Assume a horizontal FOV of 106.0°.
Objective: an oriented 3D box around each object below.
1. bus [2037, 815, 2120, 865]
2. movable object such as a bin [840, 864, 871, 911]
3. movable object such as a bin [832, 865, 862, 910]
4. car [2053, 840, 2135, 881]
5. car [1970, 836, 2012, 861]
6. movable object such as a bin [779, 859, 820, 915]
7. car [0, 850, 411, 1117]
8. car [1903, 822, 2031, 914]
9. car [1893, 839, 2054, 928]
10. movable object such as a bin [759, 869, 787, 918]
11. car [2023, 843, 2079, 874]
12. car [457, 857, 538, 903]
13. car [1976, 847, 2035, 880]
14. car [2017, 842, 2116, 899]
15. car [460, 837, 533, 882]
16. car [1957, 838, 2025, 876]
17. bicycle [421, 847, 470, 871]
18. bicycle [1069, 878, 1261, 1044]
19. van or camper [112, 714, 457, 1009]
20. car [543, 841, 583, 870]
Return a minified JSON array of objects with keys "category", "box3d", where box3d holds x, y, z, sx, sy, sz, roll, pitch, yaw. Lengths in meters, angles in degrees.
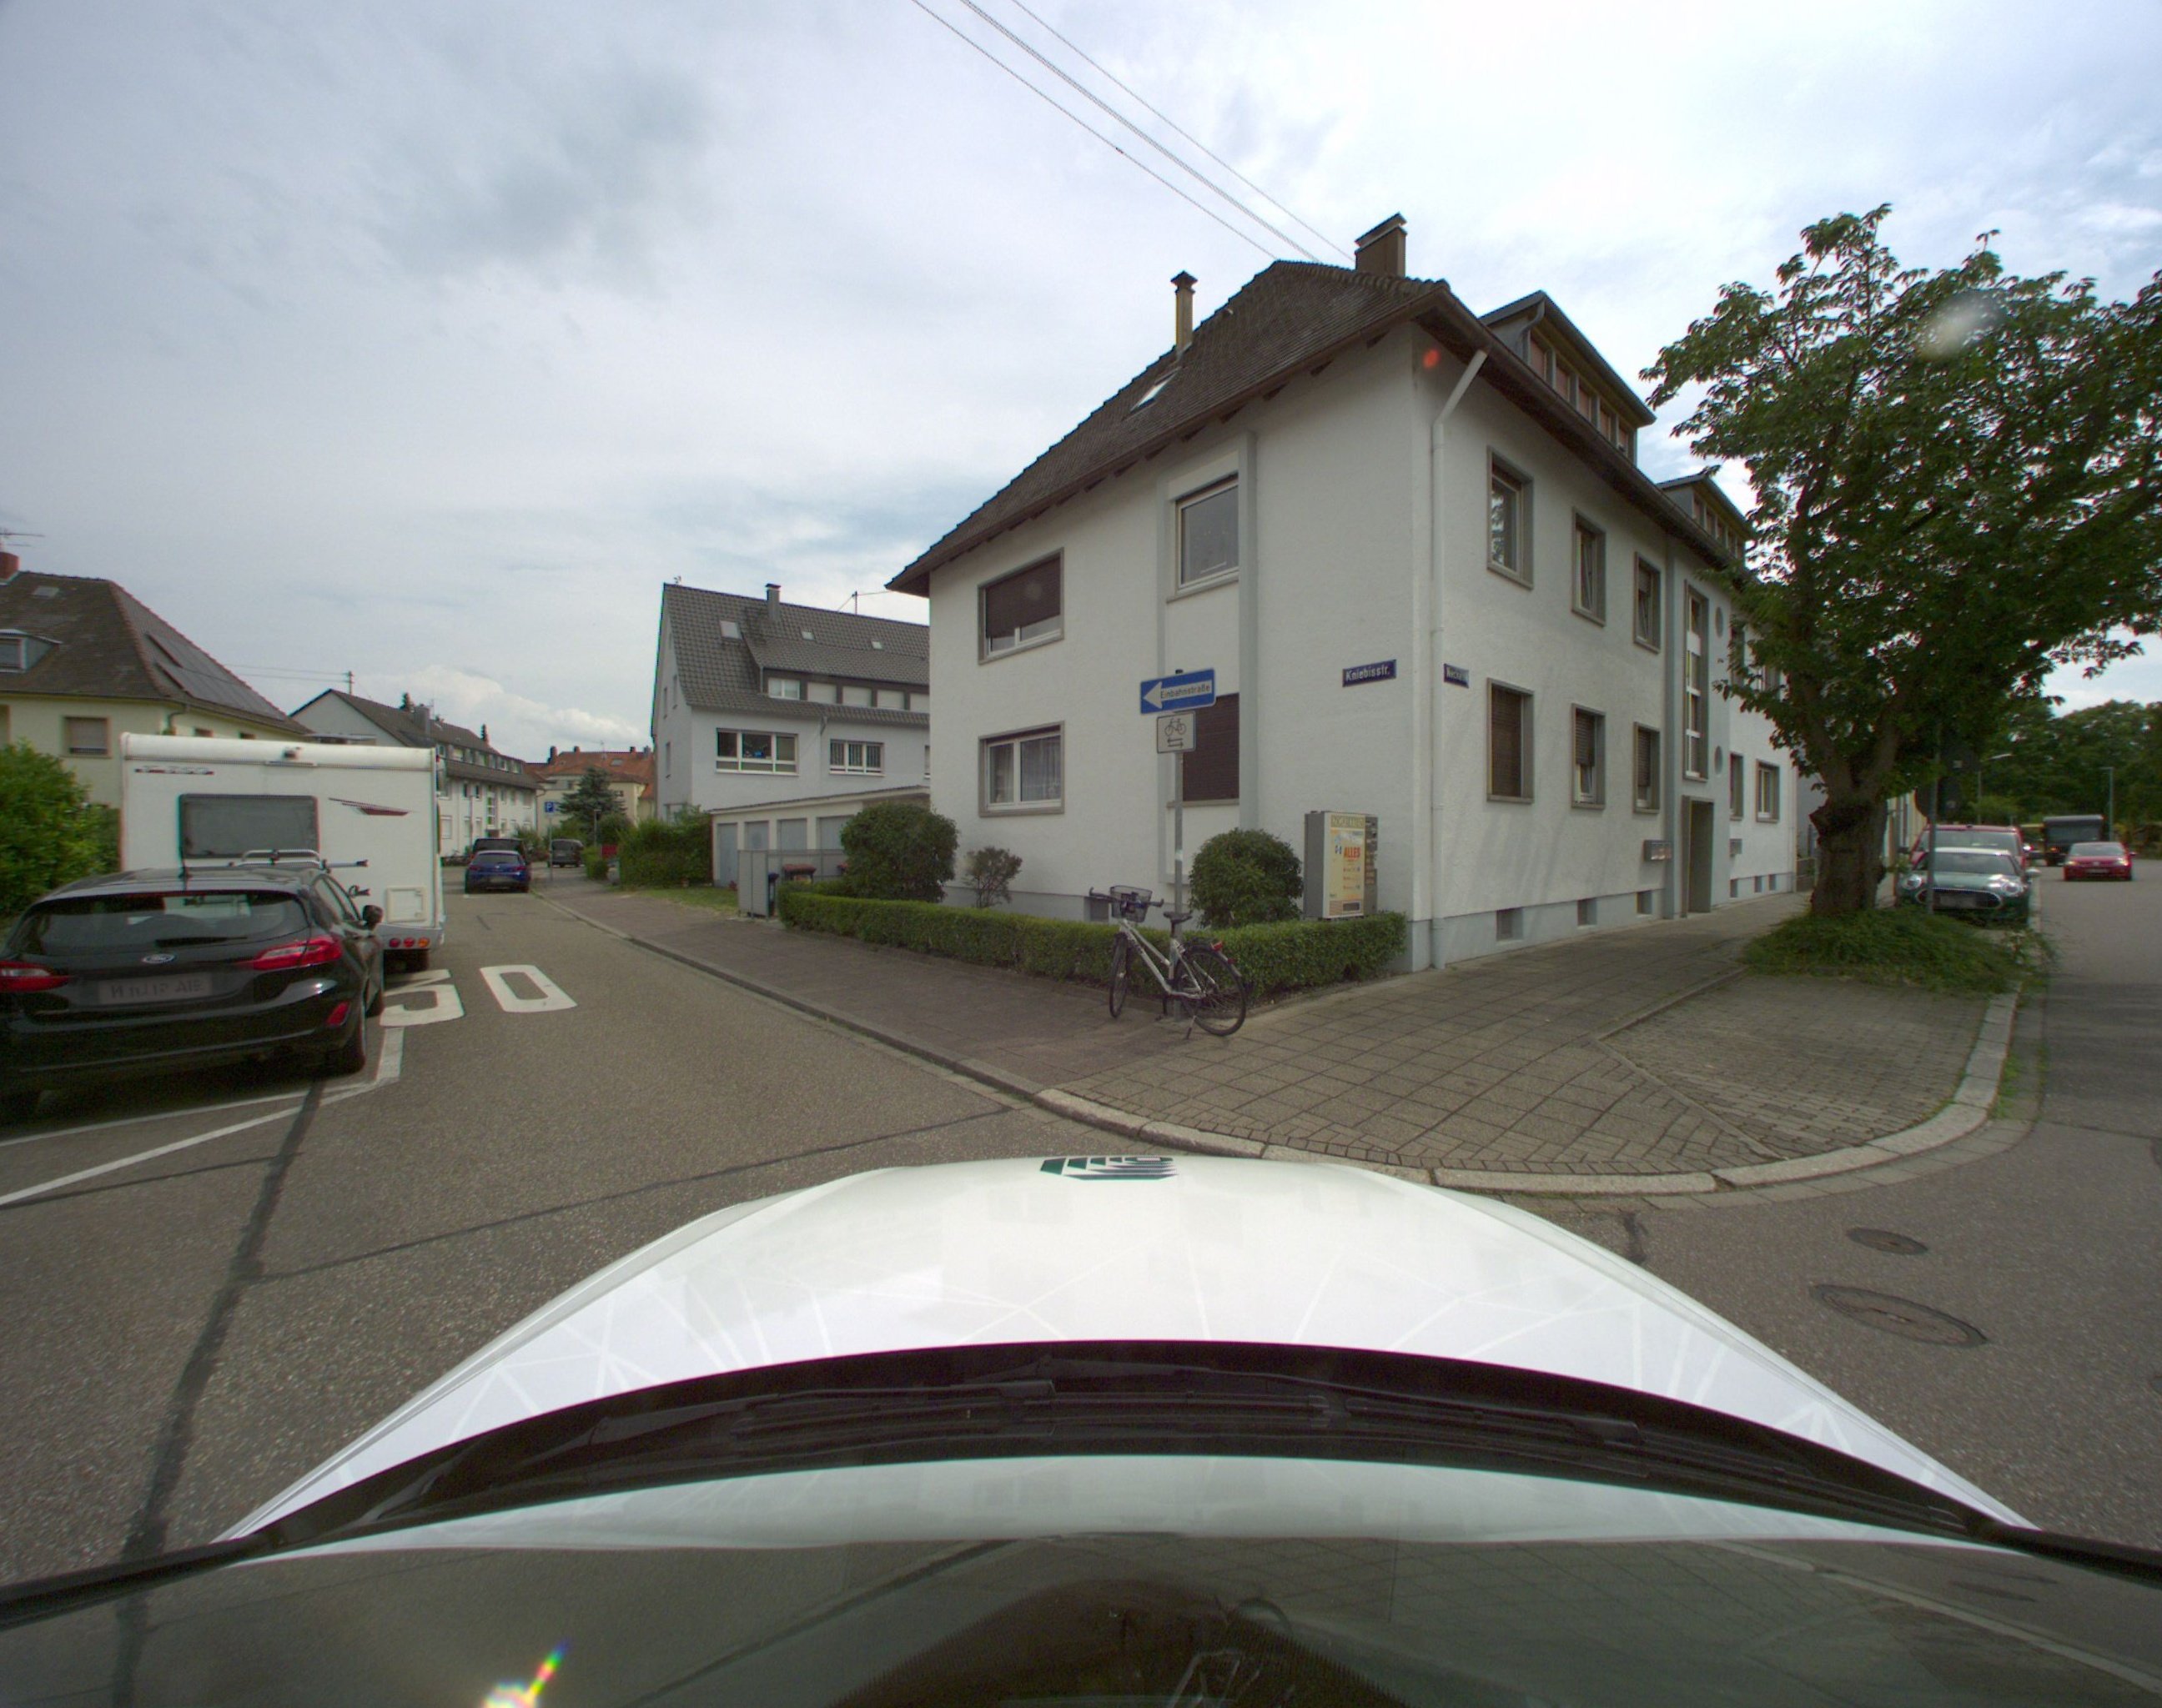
[{"category":"bus","box3d":[61.411,-0.845,50.082,8.967,2.761,2.979,-1,-1,-38]},{"category":"movable object such as a bin","box3d":[-4.870,0.717,17.574,0.457,0.973,0.501,-1,-1,-39]},{"category":"movable object such as a bin","box3d":[-5.181,0.734,18.013,0.457,0.973,0.501,-1,-1,-39]},{"category":"car","box3d":[39.461,0.227,31.808,4.021,1.486,1.848,-1,-1,-41]},{"category":"car","box3d":[55.793,-0.347,49.922,3.559,1.425,1.579,-1,-1,-40]},{"category":"movable object such as a bin","box3d":[-5.966,0.695,17.235,0.584,1.137,0.746,-1,-1,-39]},{"category":"car","box3d":[-6.406,0.744,6.283,1.671,1.422,3.726,-1,-1,-36]},{"category":"car","box3d":[21.840,0.281,20.041,4.544,2.013,1.976,-1,1,-41]},{"category":"car","box3d":[17.539,0.513,15.961,3.748,1.554,1.749,-1,-1,-37]},{"category":"movable object such as a bin","box3d":[-6.351,0.811,16.796,0.393,0.973,0.509,-1,-1,-39]},{"category":"car","box3d":[46.829,0.210,39.372,3.741,1.377,1.637,-1,-1,-41]},{"category":"car","box3d":[-20.139,0.871,28.256,1.732,1.452,3.964,-1,-1,-28]},{"category":"car","box3d":[38.970,0.383,34.397,3.742,1.301,1.525,-1,-1,-43]},{"category":"car","box3d":[27.562,0.434,22.866,3.571,1.461,1.637,-1,-1,-41]},{"category":"car","box3d":[-24.337,0.250,34.041,1.864,1.742,4.306,-1,-1,-28]},{"category":"car","box3d":[34.913,0.103,31.317,3.742,1.377,1.636,-1,-1,-43]},{"category":"bicycle","box3d":[-40.846,0.303,52.388,0.710,1.460,2.367,-2,-1,29]},{"category":"bicycle","box3d":[0.625,0.793,6.583,0.437,1.179,1.618,0,-1,-44]},{"category":"van or camper","box3d":[-9.795,0.128,10.697,2.423,2.725,6.093,-1,-1,-37]},{"category":"car","box3d":[-33.895,0.131,53.382,1.864,1.742,4.306,-1,-1,-28]}]
